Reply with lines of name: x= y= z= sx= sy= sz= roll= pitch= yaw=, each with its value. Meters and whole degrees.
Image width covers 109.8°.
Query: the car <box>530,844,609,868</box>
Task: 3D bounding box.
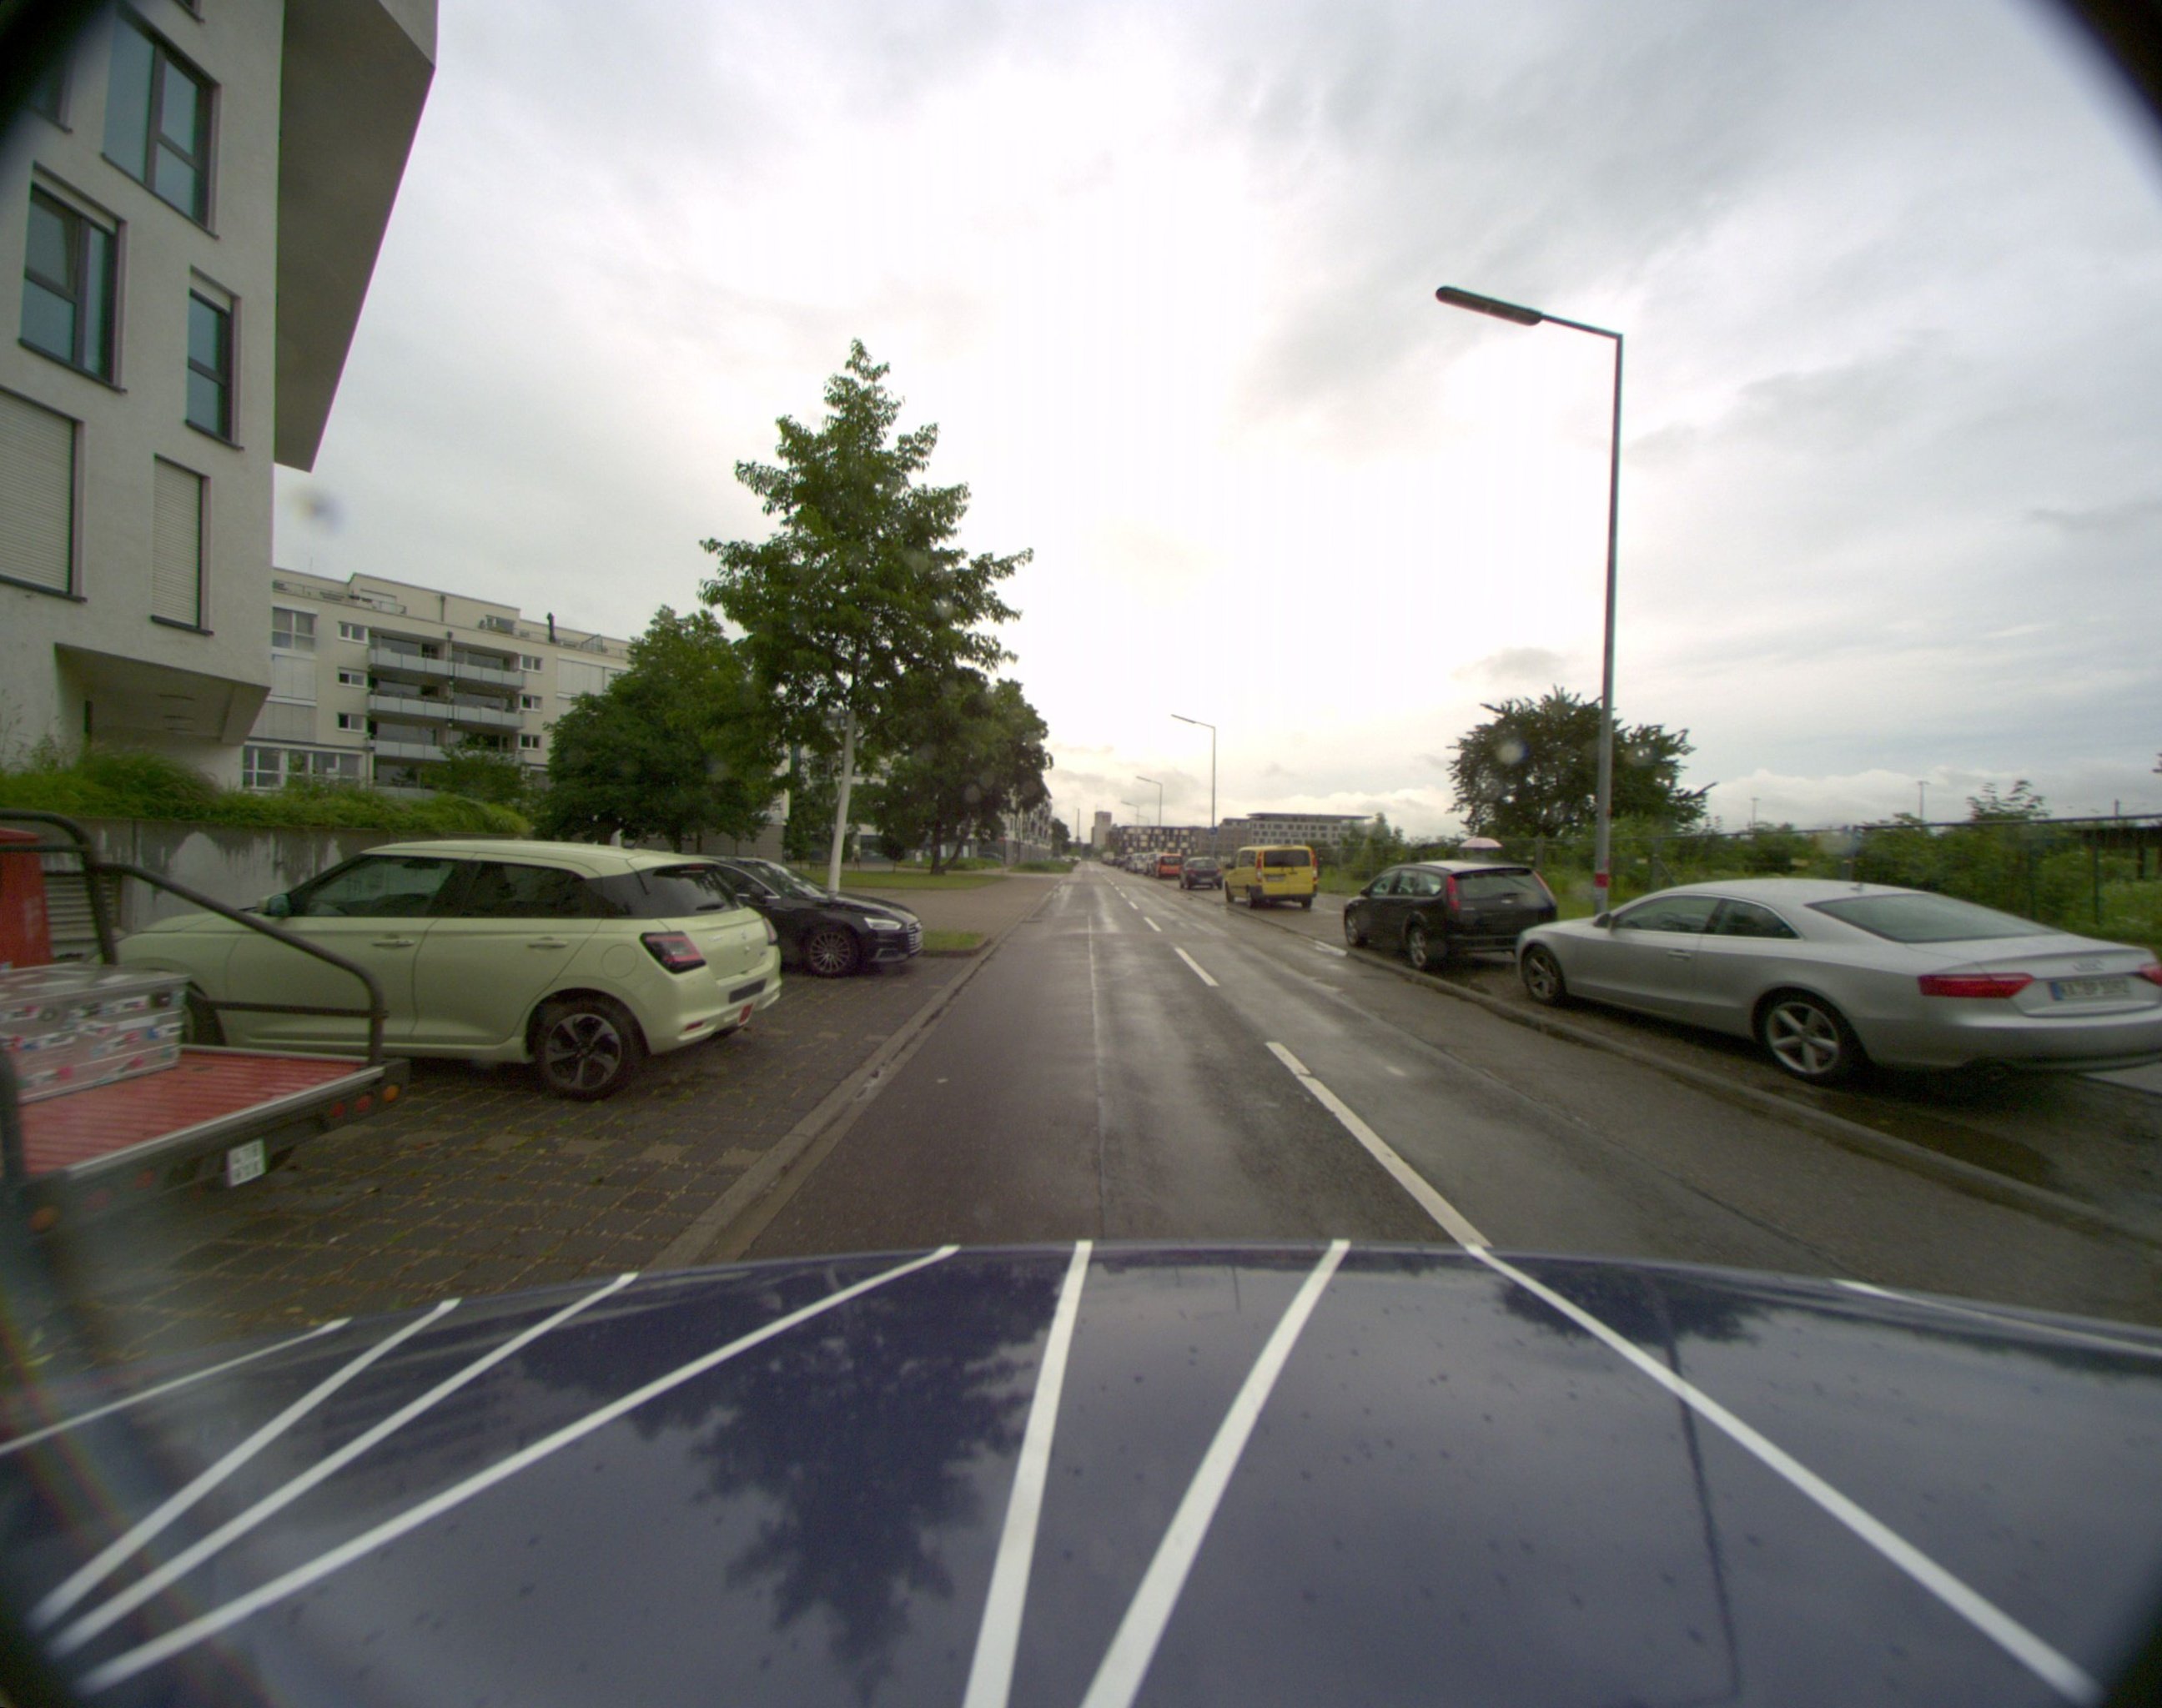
car: x=-33.954 y=0.141 z=50.518 sx=1.729 sy=1.539 sz=4.009 roll=1 pitch=0 yaw=39

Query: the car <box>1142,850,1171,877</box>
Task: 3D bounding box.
car: x=6.511 y=0.774 z=66.331 sx=1.947 sy=2.223 sz=5.557 roll=1 pitch=0 yaw=0

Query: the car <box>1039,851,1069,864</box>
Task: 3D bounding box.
car: x=-3.770 y=0.480 z=105.873 sx=4.100 sy=1.614 sz=1.966 roll=3 pitch=1 yaw=-1

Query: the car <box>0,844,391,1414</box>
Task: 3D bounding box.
car: x=-5.055 y=0.716 z=2.521 sx=3.997 sy=1.546 sz=1.635 roll=4 pitch=1 yaw=1

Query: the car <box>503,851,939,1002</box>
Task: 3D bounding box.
car: x=-4.308 y=0.833 z=9.651 sx=4.582 sy=1.488 sz=1.825 roll=3 pitch=1 yaw=-1

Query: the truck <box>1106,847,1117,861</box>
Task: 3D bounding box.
truck: x=7.224 y=-0.004 z=181.116 sx=2.442 sy=3.050 sz=6.700 roll=0 pitch=0 yaw=0

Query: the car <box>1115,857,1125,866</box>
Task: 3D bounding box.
car: x=7.046 y=1.311 z=136.823 sx=1.756 sy=1.683 sz=4.882 roll=1 pitch=0 yaw=3

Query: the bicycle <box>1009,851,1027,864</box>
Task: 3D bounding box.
bicycle: x=-7.970 y=0.440 z=95.658 sx=2.189 sy=1.514 sz=0.631 roll=2 pitch=1 yaw=21

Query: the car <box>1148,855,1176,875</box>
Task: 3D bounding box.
car: x=6.390 y=0.855 z=60.154 sx=1.688 sy=1.493 sz=4.892 roll=1 pitch=0 yaw=0

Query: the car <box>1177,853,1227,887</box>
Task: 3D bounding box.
car: x=5.847 y=0.754 z=37.210 sx=1.808 sy=1.552 sz=4.033 roll=-2 pitch=0 yaw=1

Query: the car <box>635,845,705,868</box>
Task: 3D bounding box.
car: x=-29.903 y=0.189 z=55.405 sx=1.729 sy=1.539 sz=4.130 roll=1 pitch=0 yaw=39

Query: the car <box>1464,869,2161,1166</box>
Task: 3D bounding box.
car: x=5.834 y=0.962 z=6.879 sx=2.015 sy=1.426 sz=5.339 roll=-2 pitch=1 yaw=0

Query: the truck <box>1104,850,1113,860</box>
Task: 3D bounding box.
truck: x=7.393 y=0.235 z=201.319 sx=2.180 sy=2.591 sz=6.131 roll=1 pitch=0 yaw=0

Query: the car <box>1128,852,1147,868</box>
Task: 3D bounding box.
car: x=6.655 y=0.673 z=90.431 sx=1.961 sy=1.890 sz=4.995 roll=0 pitch=0 yaw=1

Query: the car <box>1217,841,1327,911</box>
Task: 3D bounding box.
car: x=5.951 y=0.601 z=24.507 sx=2.022 sy=1.945 sz=6.064 roll=-1 pitch=0 yaw=0

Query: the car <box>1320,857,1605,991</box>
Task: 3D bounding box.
car: x=5.673 y=0.908 z=12.214 sx=1.999 sy=1.585 sz=5.016 roll=-2 pitch=1 yaw=-1

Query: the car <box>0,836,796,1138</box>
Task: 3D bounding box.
car: x=-4.546 y=0.751 z=5.171 sx=4.499 sy=1.472 sz=1.692 roll=3 pitch=1 yaw=0

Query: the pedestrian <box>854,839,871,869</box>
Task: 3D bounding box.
pedestrian: x=-14.837 y=-0.001 z=51.550 sx=0.967 sy=2.002 sz=0.622 roll=1 pitch=0 yaw=1

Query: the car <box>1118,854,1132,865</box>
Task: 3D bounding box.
car: x=6.678 y=0.843 z=114.872 sx=1.852 sy=1.552 sz=4.152 roll=-1 pitch=0 yaw=1

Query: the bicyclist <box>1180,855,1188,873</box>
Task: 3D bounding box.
bicyclist: x=10.120 y=0.967 z=74.651 sx=0.700 sy=1.819 sz=1.008 roll=0 pitch=0 yaw=1

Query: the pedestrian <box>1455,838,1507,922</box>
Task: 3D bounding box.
pedestrian: x=9.742 y=0.609 z=18.541 sx=0.744 sy=2.002 sz=0.980 roll=0 pitch=1 yaw=1

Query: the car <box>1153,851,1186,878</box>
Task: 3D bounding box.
car: x=6.238 y=0.710 z=53.893 sx=1.944 sy=1.757 sz=4.331 roll=1 pitch=0 yaw=2

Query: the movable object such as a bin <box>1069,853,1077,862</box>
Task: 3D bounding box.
movable object such as a bin: x=-1.483 y=0.665 z=142.601 sx=1.499 sy=1.484 sz=1.155 roll=4 pitch=0 yaw=1

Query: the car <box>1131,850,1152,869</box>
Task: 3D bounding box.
car: x=6.635 y=0.626 z=83.608 sx=1.899 sy=2.002 sz=5.258 roll=1 pitch=0 yaw=1

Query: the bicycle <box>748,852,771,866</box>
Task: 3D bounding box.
bicycle: x=-25.620 y=0.423 z=60.551 sx=2.477 sy=1.081 sz=0.728 roll=1 pitch=0 yaw=42

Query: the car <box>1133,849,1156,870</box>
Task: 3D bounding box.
car: x=6.413 y=0.554 z=77.024 sx=1.964 sy=2.046 sz=5.274 roll=0 pitch=0 yaw=1
